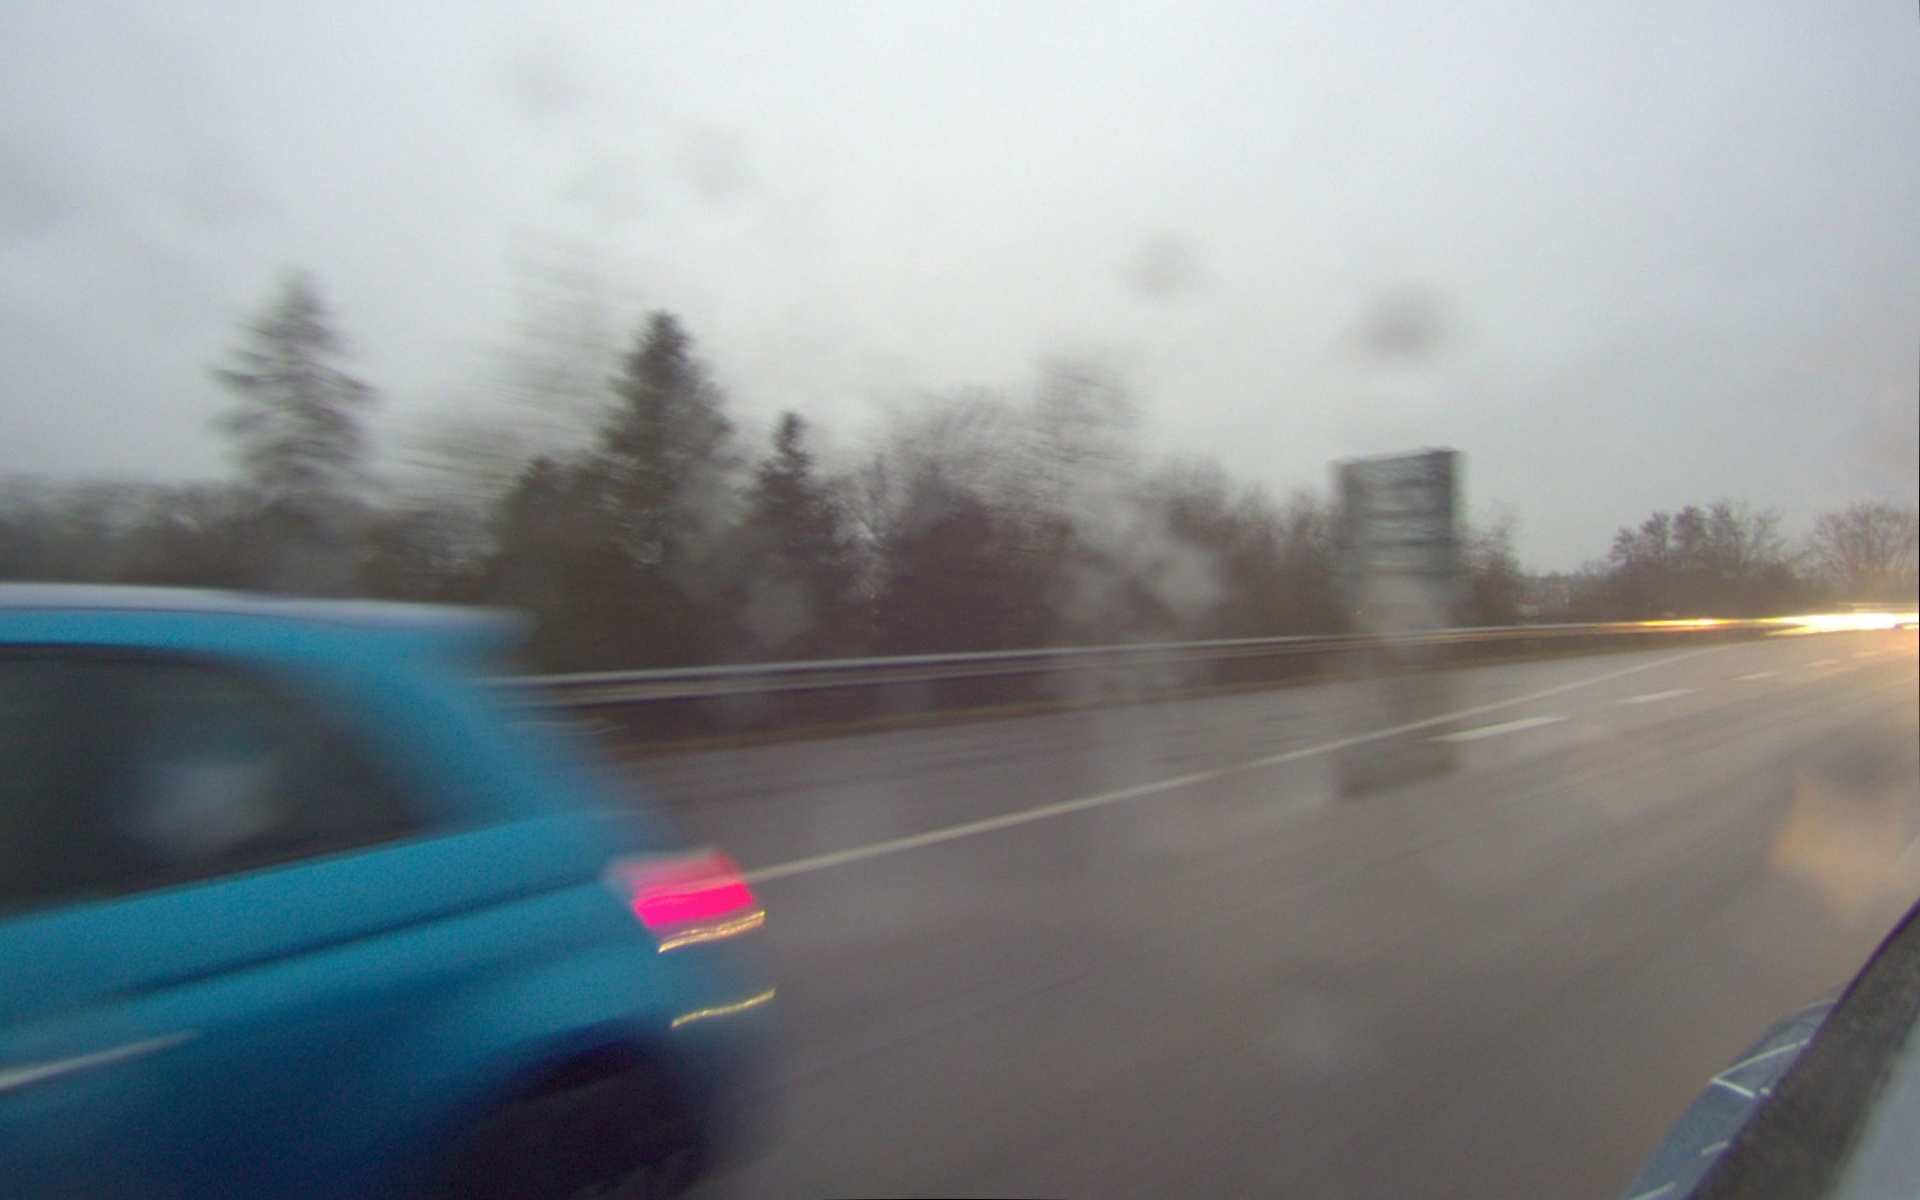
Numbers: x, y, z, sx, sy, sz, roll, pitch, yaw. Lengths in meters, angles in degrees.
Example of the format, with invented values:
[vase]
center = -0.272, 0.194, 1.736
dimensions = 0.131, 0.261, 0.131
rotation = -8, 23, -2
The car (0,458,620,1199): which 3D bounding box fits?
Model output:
[car]
center = -2.750, 0.576, 1.178
dimensions = 4.078, 1.471, 1.848
rotation = -2, 2, -42
